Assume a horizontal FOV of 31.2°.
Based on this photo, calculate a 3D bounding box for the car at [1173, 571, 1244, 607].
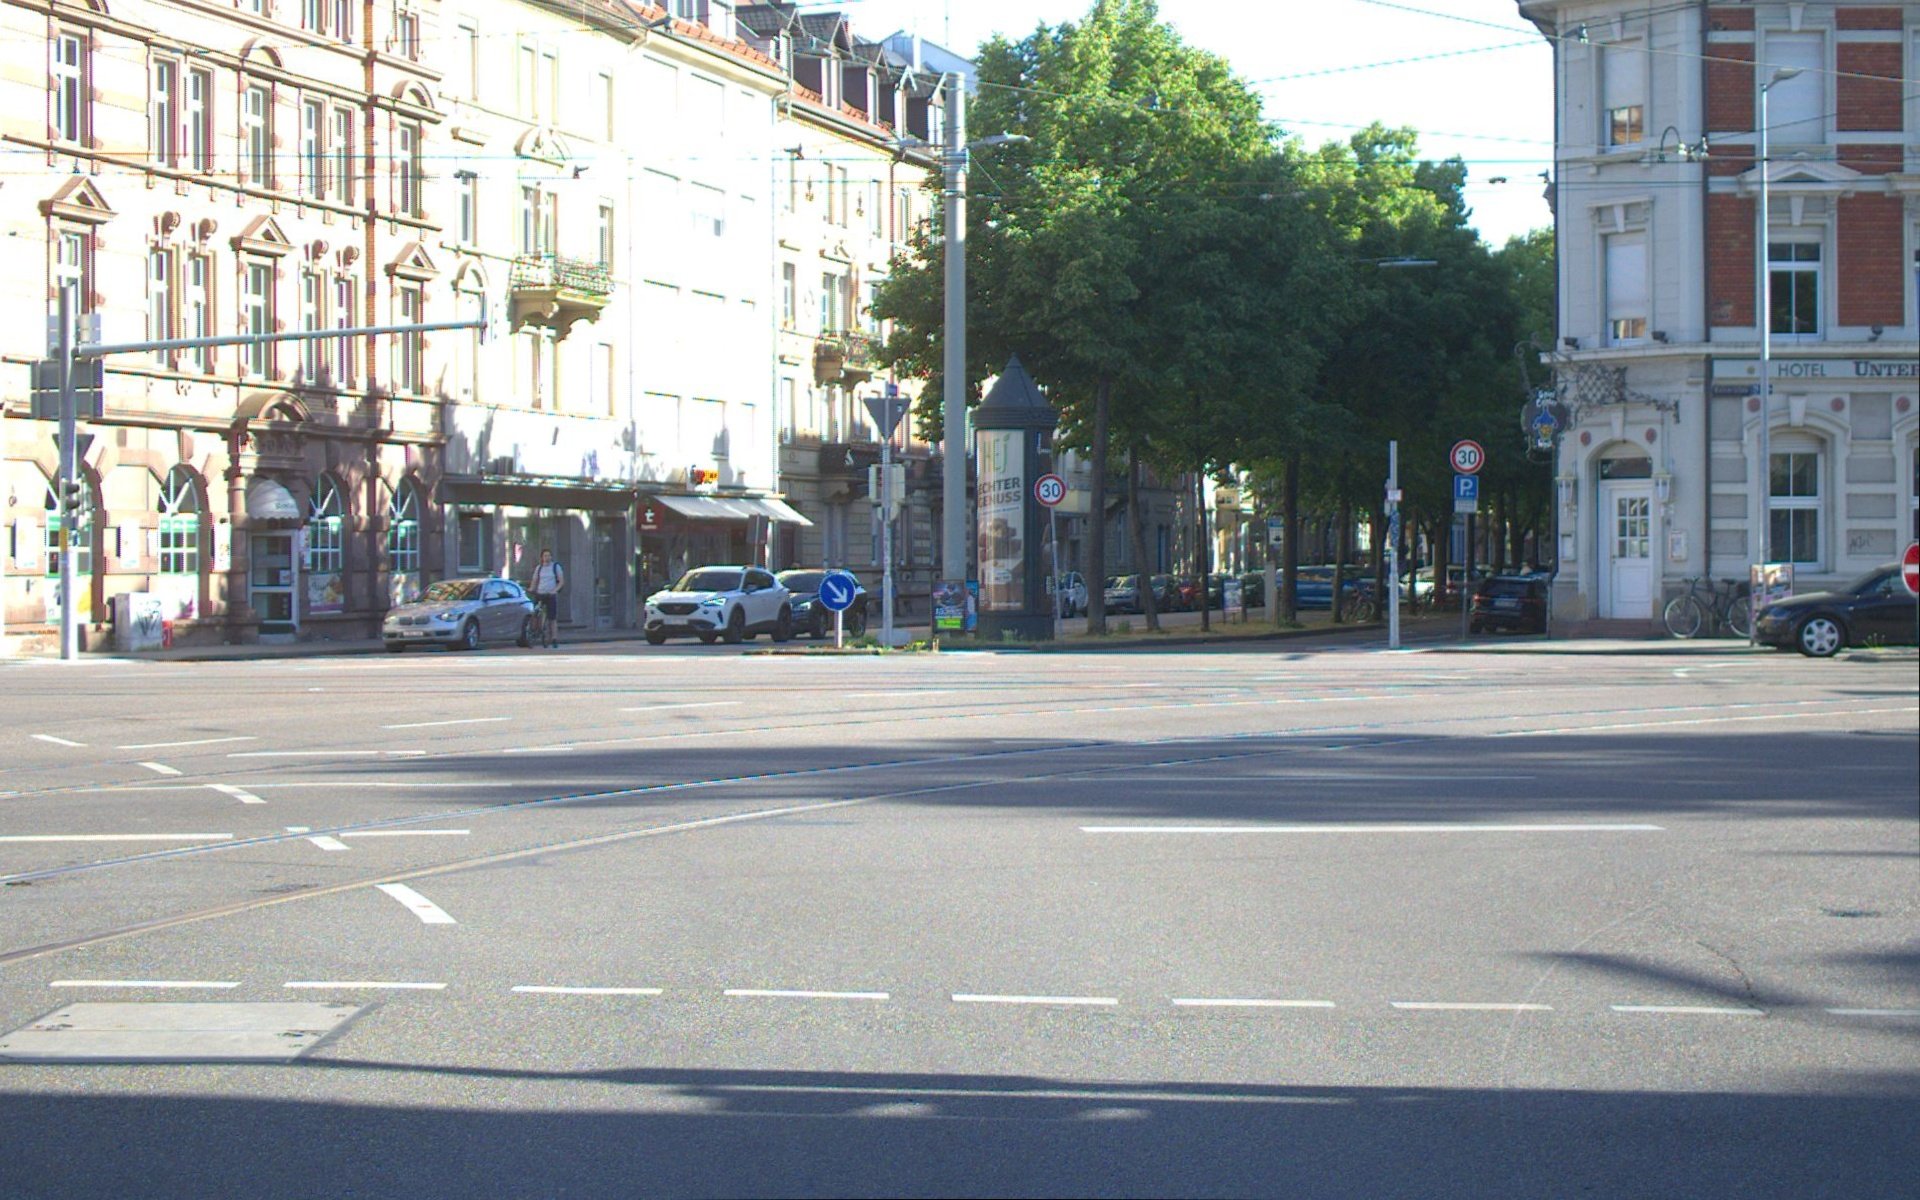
[{"bbox_3d":[9.887,-0.451,136.601,1.995,1.400,4.166,0,1,16],"label":"car"}]

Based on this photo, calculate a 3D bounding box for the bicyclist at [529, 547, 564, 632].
[{"bbox_3d":[-7.835,-0.202,65.191,0.489,1.596,0.666,0,1,10],"label":"bicyclist"}]

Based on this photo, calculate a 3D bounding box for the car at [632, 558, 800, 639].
[{"bbox_3d":[-4.747,-0.053,67.468,1.995,1.511,4.166,0,1,16],"label":"car"}]

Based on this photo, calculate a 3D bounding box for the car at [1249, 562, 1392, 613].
[{"bbox_3d":[10.452,-0.363,99.682,3.989,1.450,1.681,0,1,11],"label":"car"}]

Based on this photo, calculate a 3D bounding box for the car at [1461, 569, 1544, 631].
[{"bbox_3d":[13.052,-0.026,82.526,1.756,1.415,3.998,0,1,12],"label":"car"}]

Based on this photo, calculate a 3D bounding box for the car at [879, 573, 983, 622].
[{"bbox_3d":[-0.839,-0.093,102.088,1.995,1.400,4.166,0,1,16],"label":"car"}]

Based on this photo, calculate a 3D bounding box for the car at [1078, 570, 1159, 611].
[{"bbox_3d":[5.656,-0.341,122.576,1.995,1.400,4.166,0,1,16],"label":"car"}]

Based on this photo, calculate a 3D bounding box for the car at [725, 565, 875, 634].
[{"bbox_3d":[-3.394,-0.040,73.641,1.995,1.400,4.166,0,1,16],"label":"car"}]

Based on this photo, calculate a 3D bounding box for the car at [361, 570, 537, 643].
[{"bbox_3d":[-9.923,0.102,67.041,1.995,1.357,3.816,0,1,16],"label":"car"}]

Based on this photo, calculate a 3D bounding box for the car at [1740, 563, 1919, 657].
[{"bbox_3d":[13.132,0.130,48.544,4.062,1.296,1.722,0,1,11],"label":"car"}]

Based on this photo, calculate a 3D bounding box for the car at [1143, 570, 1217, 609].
[{"bbox_3d":[8.410,-0.419,131.404,1.995,1.400,4.166,0,1,16],"label":"car"}]

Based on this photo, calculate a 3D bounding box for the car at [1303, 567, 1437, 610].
[{"bbox_3d":[12.582,-0.349,105.390,3.989,1.284,1.694,0,1,11],"label":"car"}]

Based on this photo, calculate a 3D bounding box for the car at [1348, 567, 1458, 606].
[{"bbox_3d":[14.367,-0.430,111.463,3.435,1.235,1.576,0,1,11],"label":"car"}]

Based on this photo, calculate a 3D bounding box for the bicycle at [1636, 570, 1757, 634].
[{"bbox_3d":[12.274,0.026,57.339,1.953,1.050,0.715,0,1,10],"label":"bicycle"}]

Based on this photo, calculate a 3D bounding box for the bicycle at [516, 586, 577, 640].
[{"bbox_3d":[-7.843,0.232,65.298,0.655,0.997,1.664,1,1,12],"label":"bicycle"}]

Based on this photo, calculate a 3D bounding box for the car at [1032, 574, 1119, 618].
[{"bbox_3d":[3.944,-0.152,116.858,1.995,1.400,4.166,0,1,16],"label":"car"}]
